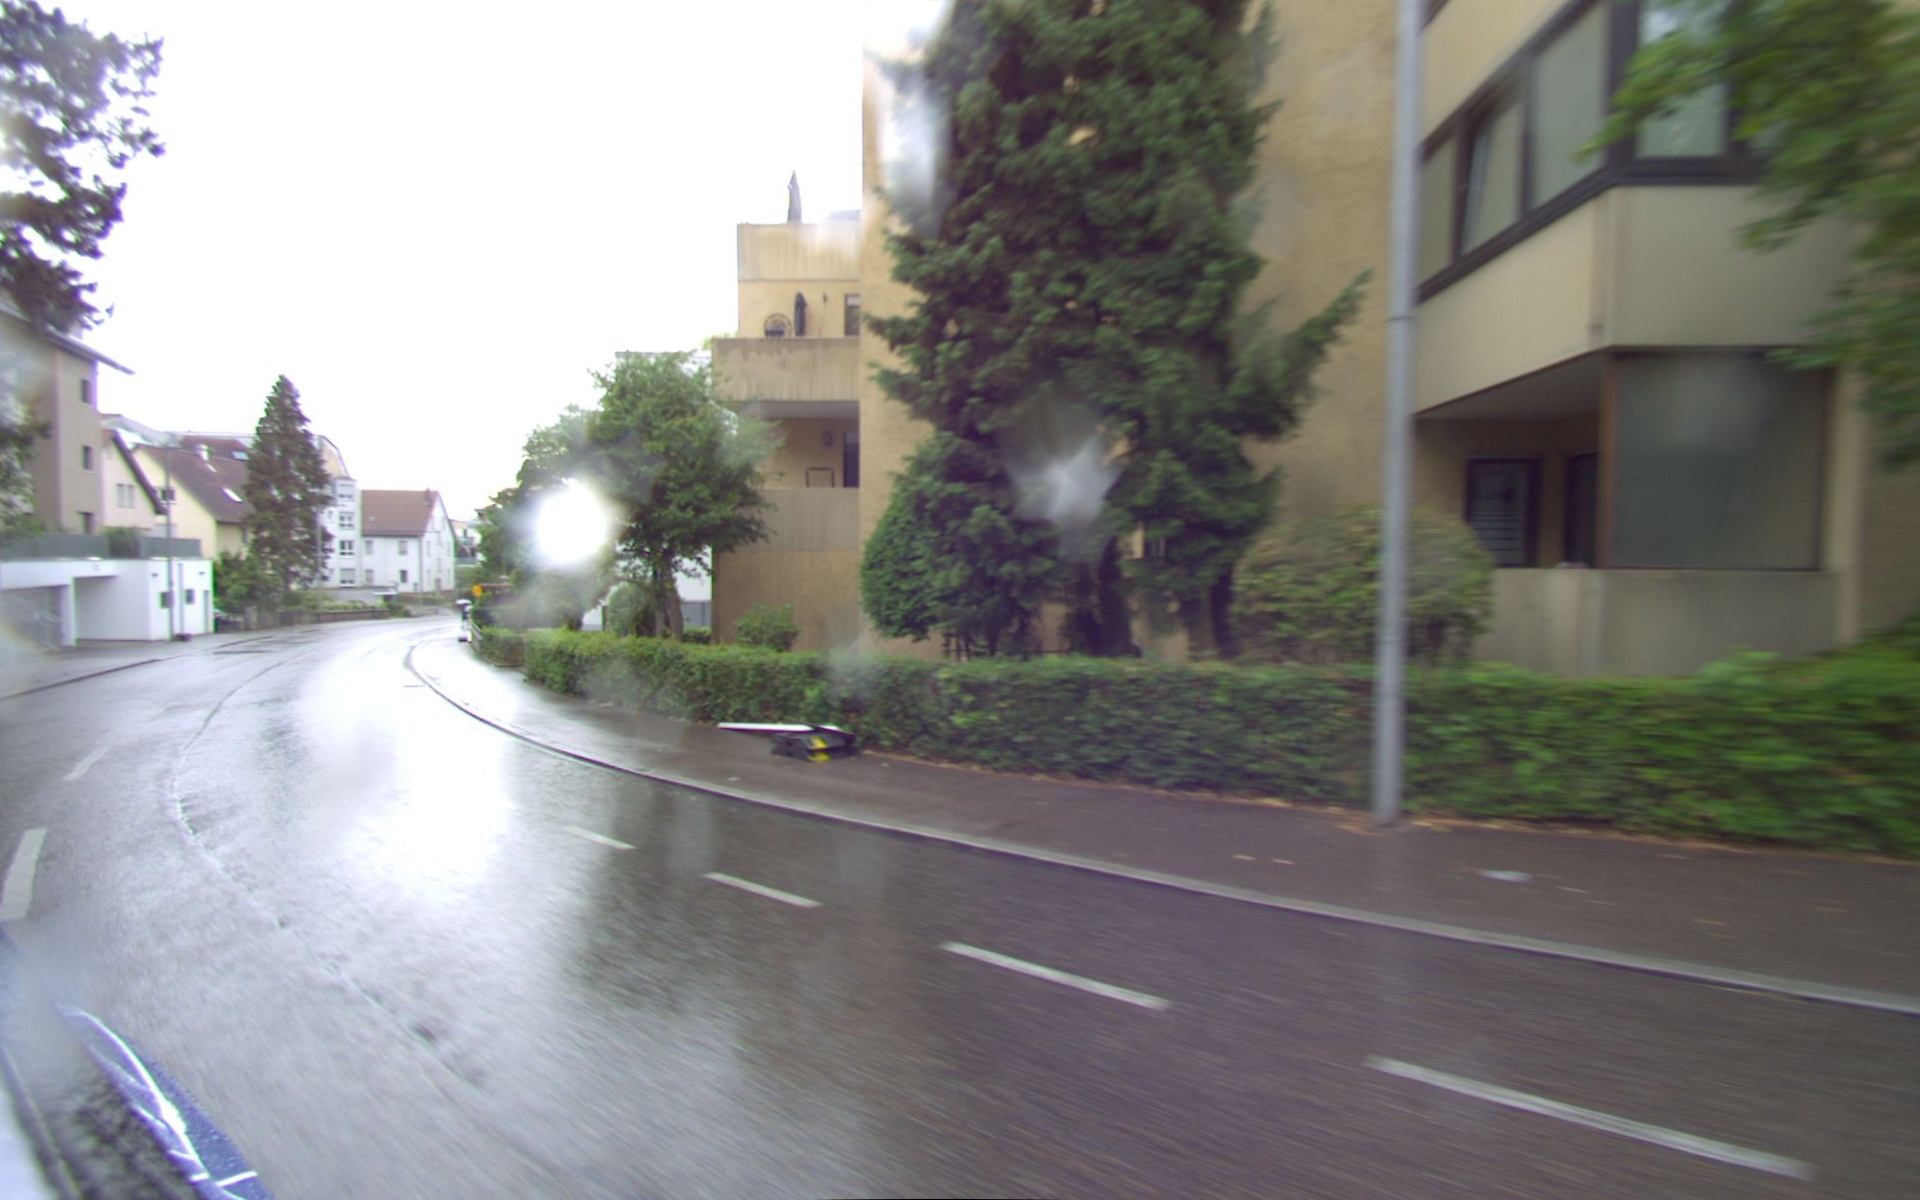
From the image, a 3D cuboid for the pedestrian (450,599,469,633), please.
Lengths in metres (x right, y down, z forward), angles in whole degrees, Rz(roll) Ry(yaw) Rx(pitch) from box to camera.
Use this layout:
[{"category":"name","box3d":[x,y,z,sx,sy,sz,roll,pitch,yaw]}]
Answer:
[{"category":"pedestrian","box3d":[-31.231,1.007,63.142,0.857,2.068,0.804,-1,-1,-41]}]

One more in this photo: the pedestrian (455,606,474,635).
[{"category":"pedestrian","box3d":[-30.560,1.248,62.435,0.835,1.775,0.782,-1,-1,-43]}]
